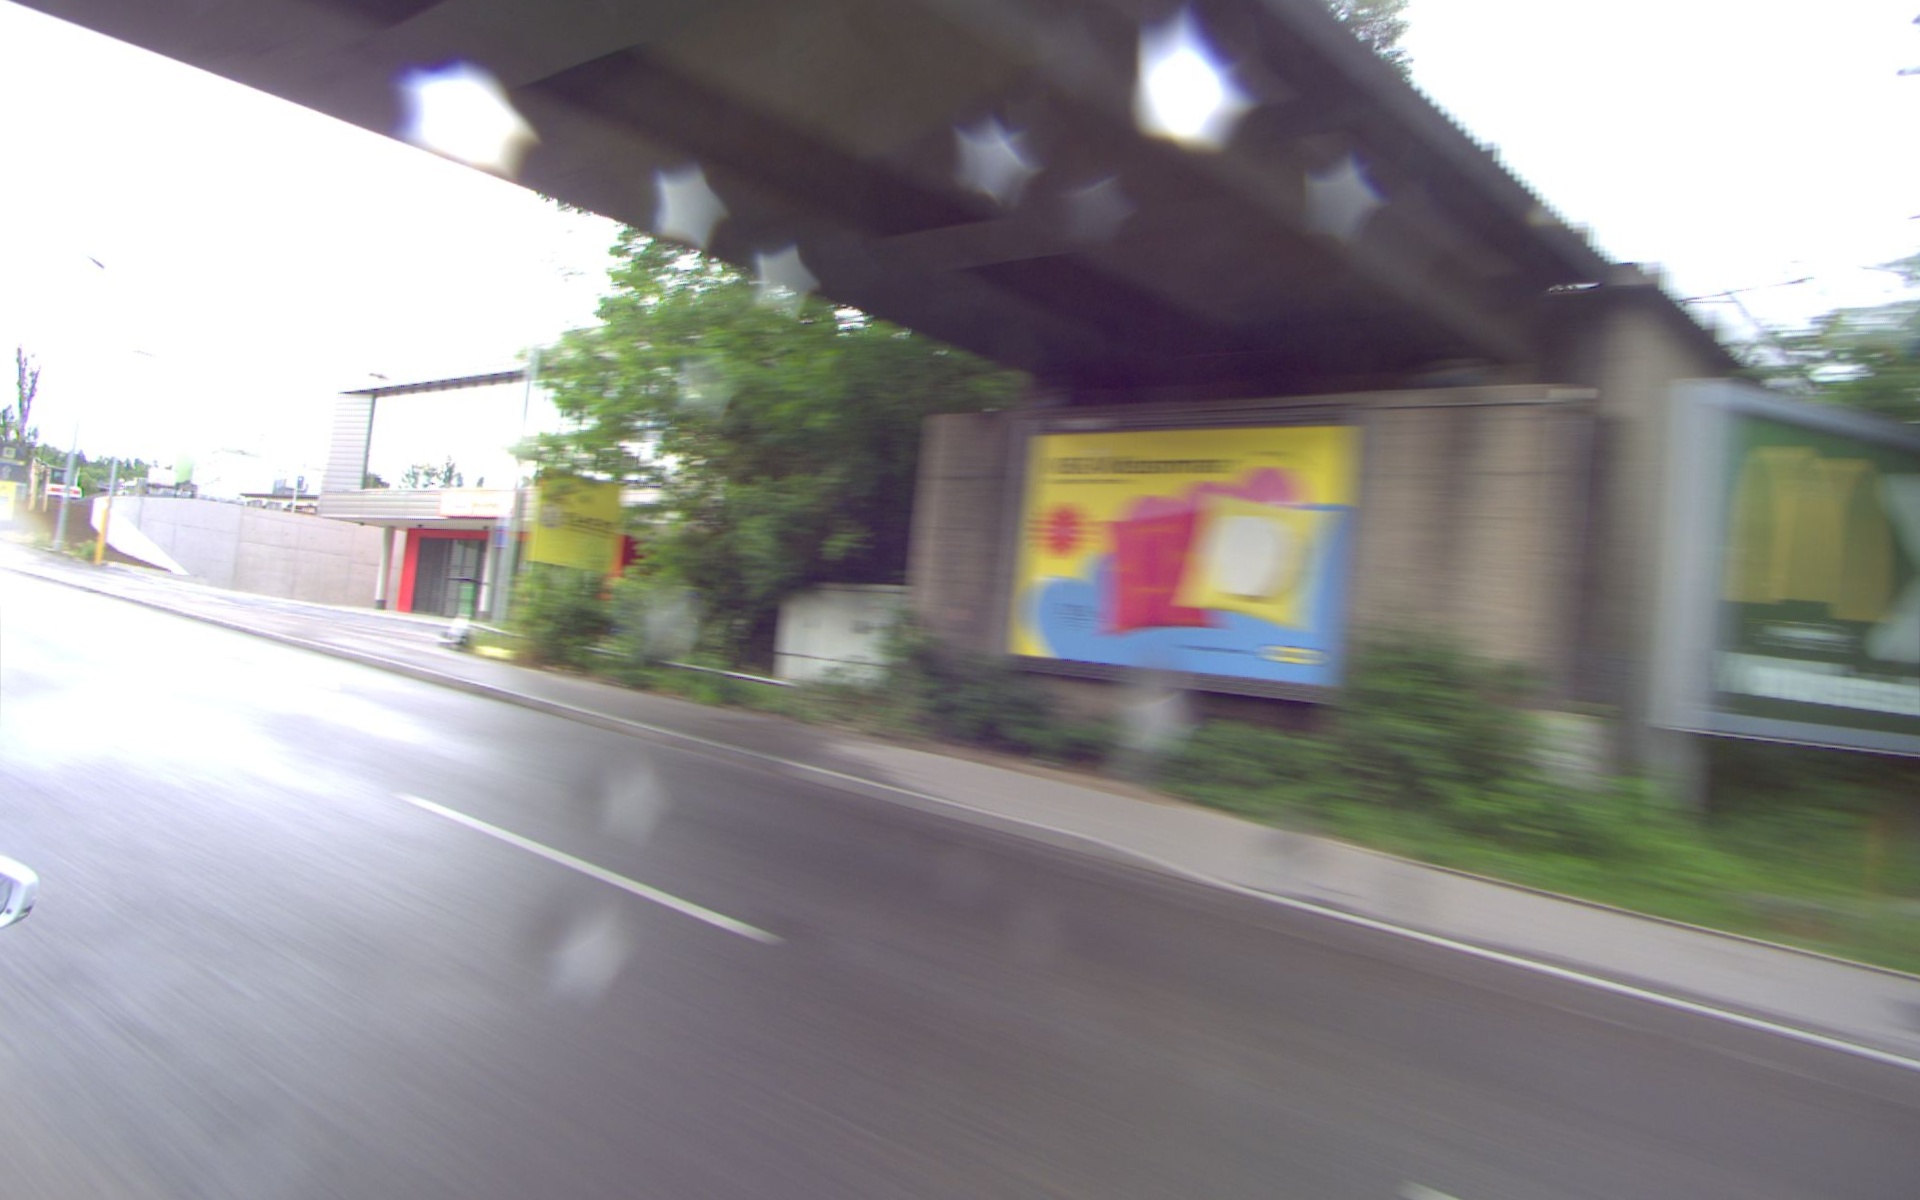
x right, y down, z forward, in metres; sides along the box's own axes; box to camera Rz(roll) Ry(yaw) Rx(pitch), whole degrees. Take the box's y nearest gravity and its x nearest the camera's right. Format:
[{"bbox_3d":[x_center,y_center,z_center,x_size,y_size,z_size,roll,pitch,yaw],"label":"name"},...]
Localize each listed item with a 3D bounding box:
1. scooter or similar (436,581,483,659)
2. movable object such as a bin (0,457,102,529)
[{"bbox_3d":[-8.084,0.305,16.221,0.254,1.142,1.265,9,-2,-40],"label":"scooter or similar"},{"bbox_3d":[-52.217,-6.154,57.689,5.327,3.313,2.310,8,-2,25],"label":"movable object such as a bin"}]
